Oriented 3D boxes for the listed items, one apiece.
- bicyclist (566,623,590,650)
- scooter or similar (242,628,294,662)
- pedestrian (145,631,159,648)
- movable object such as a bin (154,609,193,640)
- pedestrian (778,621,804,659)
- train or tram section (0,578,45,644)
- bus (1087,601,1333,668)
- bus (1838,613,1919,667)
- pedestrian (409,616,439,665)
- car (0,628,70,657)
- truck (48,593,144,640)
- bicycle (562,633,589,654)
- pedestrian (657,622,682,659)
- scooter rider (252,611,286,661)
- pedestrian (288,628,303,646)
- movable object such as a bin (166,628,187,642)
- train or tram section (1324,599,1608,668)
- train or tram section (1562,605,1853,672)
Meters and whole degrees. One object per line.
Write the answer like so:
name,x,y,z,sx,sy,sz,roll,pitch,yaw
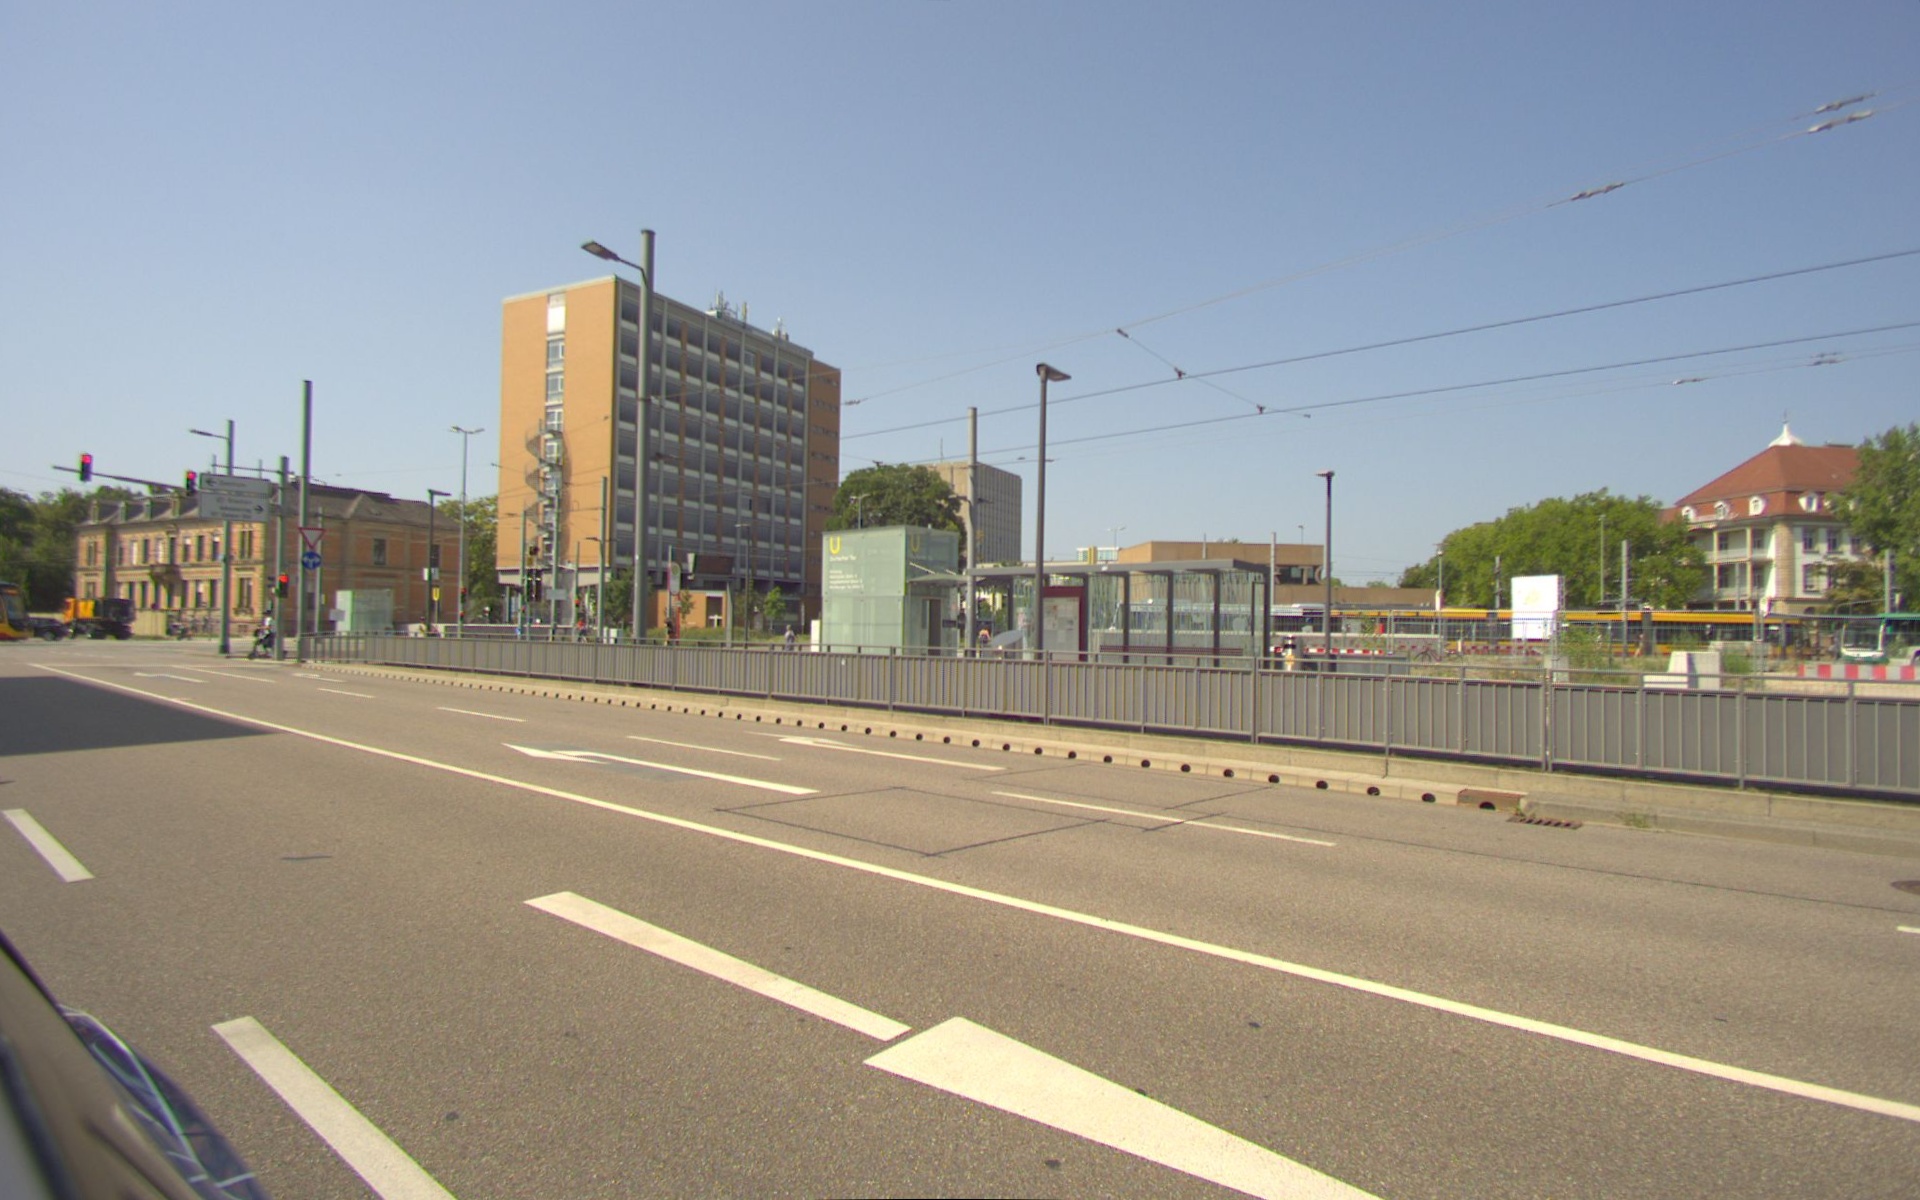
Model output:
bicyclist,-20.926,2.001,55.377,0.980,1.470,0.865,-1,-3,45
scooter or similar,-23.978,1.564,35.078,0.709,1.157,1.324,-1,-3,41
pedestrian,-63.295,3.084,79.265,0.803,1.362,0.720,3,-3,-41
movable object such as a bin,-69.931,2.183,89.949,4.452,2.692,1.794,-1,-3,40
pedestrian,-8.223,1.955,49.275,0.959,1.793,0.774,0,-2,44
train or tram section,-57.353,0.528,54.406,12.008,3.588,2.603,1,-2,-17
bus,13.390,1.883,54.711,12.571,3.356,2.679,1,-2,-2
bus,58.187,2.274,59.008,12.245,3.055,2.545,-1,-3,-5
pedestrian,-18.831,1.431,35.544,0.796,1.672,0.570,-3,-3,23
car,-60.347,2.748,65.344,3.931,1.807,2.006,1,-4,-30
truck,-65.209,1.324,76.369,7.156,3.254,3.013,-3,-4,28
bicycle,-21.075,2.376,55.474,1.914,1.077,0.606,-1,-3,45
pedestrian,-14.309,2.001,49.816,0.959,1.793,0.774,0,-2,44
scooter rider,-23.966,1.243,35.100,0.779,1.686,0.763,-1,-3,42
pedestrian,-52.373,2.942,79.770,0.787,1.405,0.836,-2,-3,43
movable object such as a bin,-61.617,2.776,79.616,1.022,1.093,0.822,0,-3,-8
train or tram section,32.157,2.212,64.741,16.418,3.951,4.067,1,-3,-4
train or tram section,48.507,2.568,65.987,16.418,3.951,4.067,1,-3,-4
